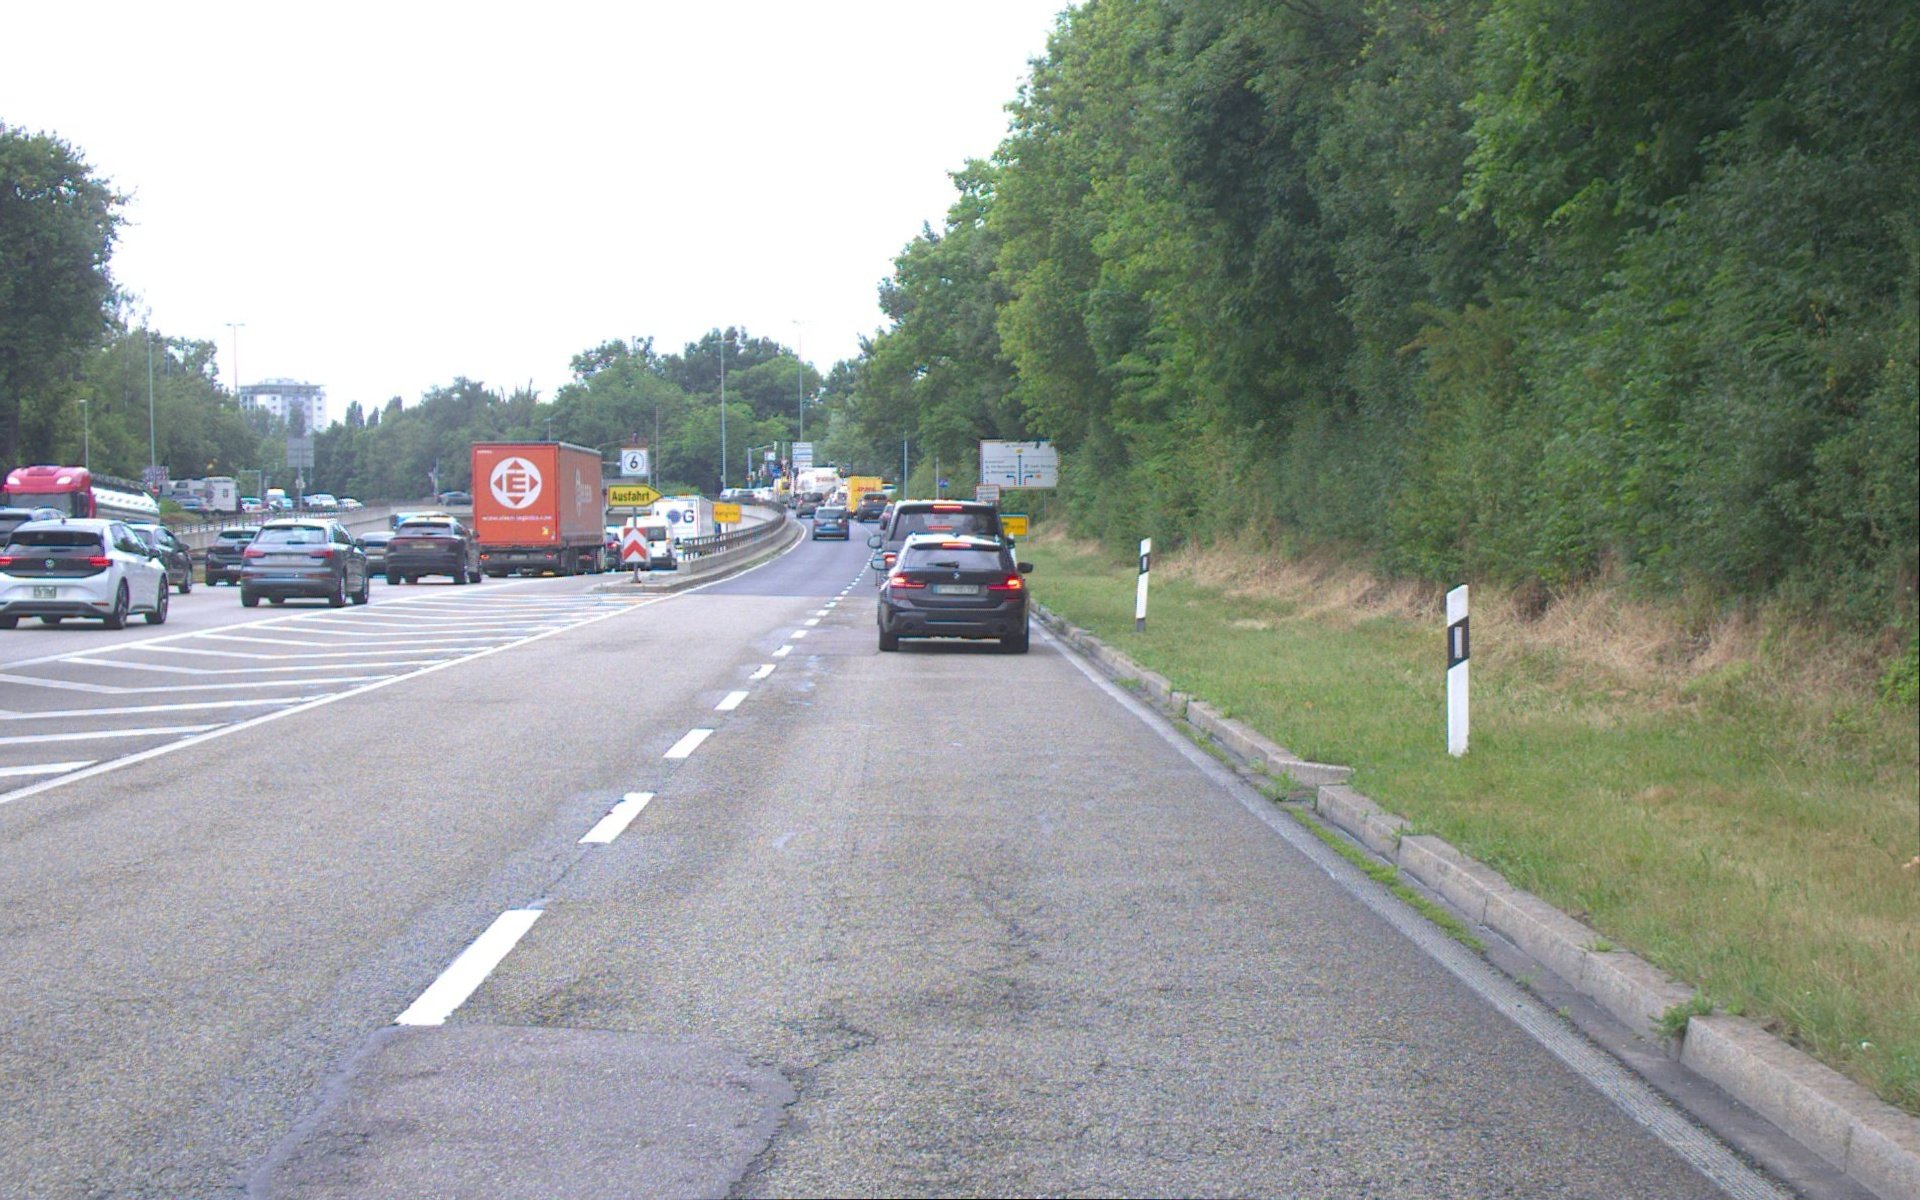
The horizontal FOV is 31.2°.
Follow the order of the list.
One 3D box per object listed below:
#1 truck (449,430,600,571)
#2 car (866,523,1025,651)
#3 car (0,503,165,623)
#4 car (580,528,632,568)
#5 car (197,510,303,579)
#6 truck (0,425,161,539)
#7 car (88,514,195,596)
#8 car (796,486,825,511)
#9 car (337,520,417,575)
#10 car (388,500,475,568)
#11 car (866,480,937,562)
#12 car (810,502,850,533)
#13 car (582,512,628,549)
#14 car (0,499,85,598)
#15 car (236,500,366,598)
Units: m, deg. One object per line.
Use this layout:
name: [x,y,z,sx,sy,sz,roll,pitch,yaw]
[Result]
truck: [-13.396,-3.074,106.879,3.489,4.059,13.594,-1,1,-2]
car: [-0.221,-0.200,42.586,1.825,1.477,4.001,-1,1,-2]
car: [-12.536,-0.525,48.533,1.799,1.598,4.258,1,1,-3]
car: [-13.477,-1.990,131.168,1.777,1.477,4.001,-1,1,-3]
car: [-17.474,-1.360,84.740,1.859,1.612,4.000,1,1,-2]
truck: [-29.660,-3.866,114.739,3.596,3.496,10.561,1,1,-1]
car: [-17.594,-0.989,74.017,1.514,1.722,4.001,0,1,-3]
car: [-10.107,-6.865,232.721,1.811,1.705,4.000,0,1,0]
car: [-17.728,-1.584,104.704,1.859,1.612,4.000,1,1,-2]
car: [-13.409,-1.663,87.409,1.717,1.678,4.000,1,1,-3]
car: [-1.500,-2.004,86.846,1.604,2.007,4.001,0,2,-4]
car: [-6.219,-3.922,164.026,1.825,1.477,4.001,0,1,-3]
car: [-14.478,-2.856,140.311,1.777,1.477,4.001,-1,1,-5]
car: [-16.724,-0.913,60.614,1.717,1.678,4.000,1,1,-3]
car: [-11.891,-0.917,62.210,1.717,1.678,4.000,1,1,-3]
